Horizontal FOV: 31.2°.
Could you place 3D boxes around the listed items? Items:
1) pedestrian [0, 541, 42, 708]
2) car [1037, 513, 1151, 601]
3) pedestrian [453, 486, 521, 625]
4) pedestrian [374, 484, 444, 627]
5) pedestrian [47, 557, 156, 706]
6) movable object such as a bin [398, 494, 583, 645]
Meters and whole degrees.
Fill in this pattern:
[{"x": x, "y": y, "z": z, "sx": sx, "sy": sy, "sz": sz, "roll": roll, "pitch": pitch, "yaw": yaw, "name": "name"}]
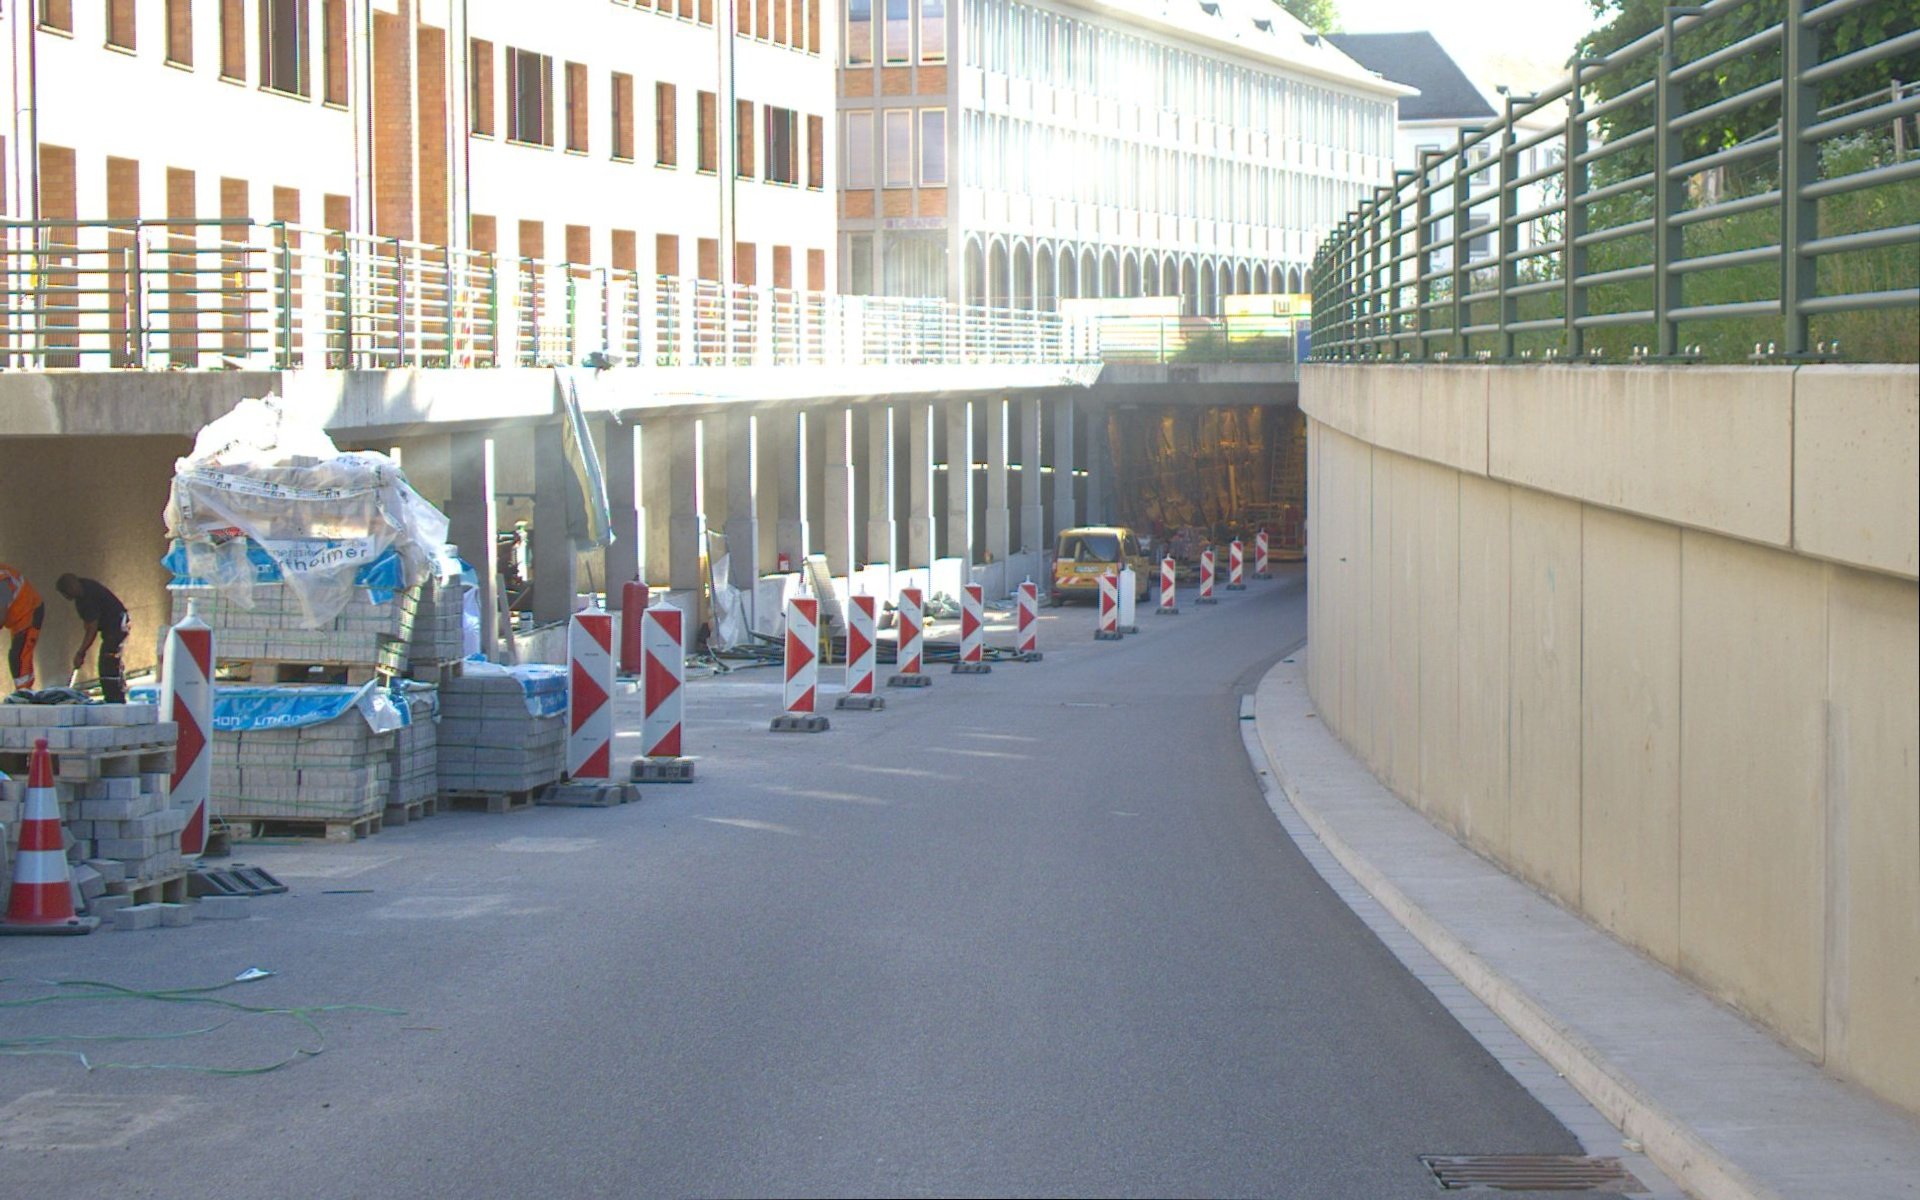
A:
[{"x": -9.111, "y": 0.227, "z": 32.622, "sx": 0.649, "sy": 1.574, "sz": 0.631, "roll": 0, "pitch": 1, "yaw": -3, "name": "pedestrian"}, {"x": 3.086, "y": -1.006, "z": 78.354, "sx": 1.849, "sy": 1.769, "sz": 4.433, "roll": 1, "pitch": 3, "yaw": 12, "name": "car"}, {"x": -6.213, "y": -0.585, "z": 45.161, "sx": 0.657, "sy": 1.798, "sz": 0.624, "roll": 2, "pitch": 1, "yaw": 14, "name": "pedestrian"}, {"x": -7.103, "y": -0.579, "z": 44.363, "sx": 0.704, "sy": 1.808, "sz": 0.710, "roll": 2, "pitch": 1, "yaw": 4, "name": "pedestrian"}, {"x": -8.131, "y": 0.288, "z": 32.586, "sx": 0.871, "sy": 1.393, "sz": 0.783, "roll": 0, "pitch": 1, "yaw": -3, "name": "pedestrian"}, {"x": -6.395, "y": -0.444, "z": 47.165, "sx": 1.885, "sy": 1.980, "sz": 3.158, "roll": 1, "pitch": 1, "yaw": 4, "name": "movable object such as a bin"}]
